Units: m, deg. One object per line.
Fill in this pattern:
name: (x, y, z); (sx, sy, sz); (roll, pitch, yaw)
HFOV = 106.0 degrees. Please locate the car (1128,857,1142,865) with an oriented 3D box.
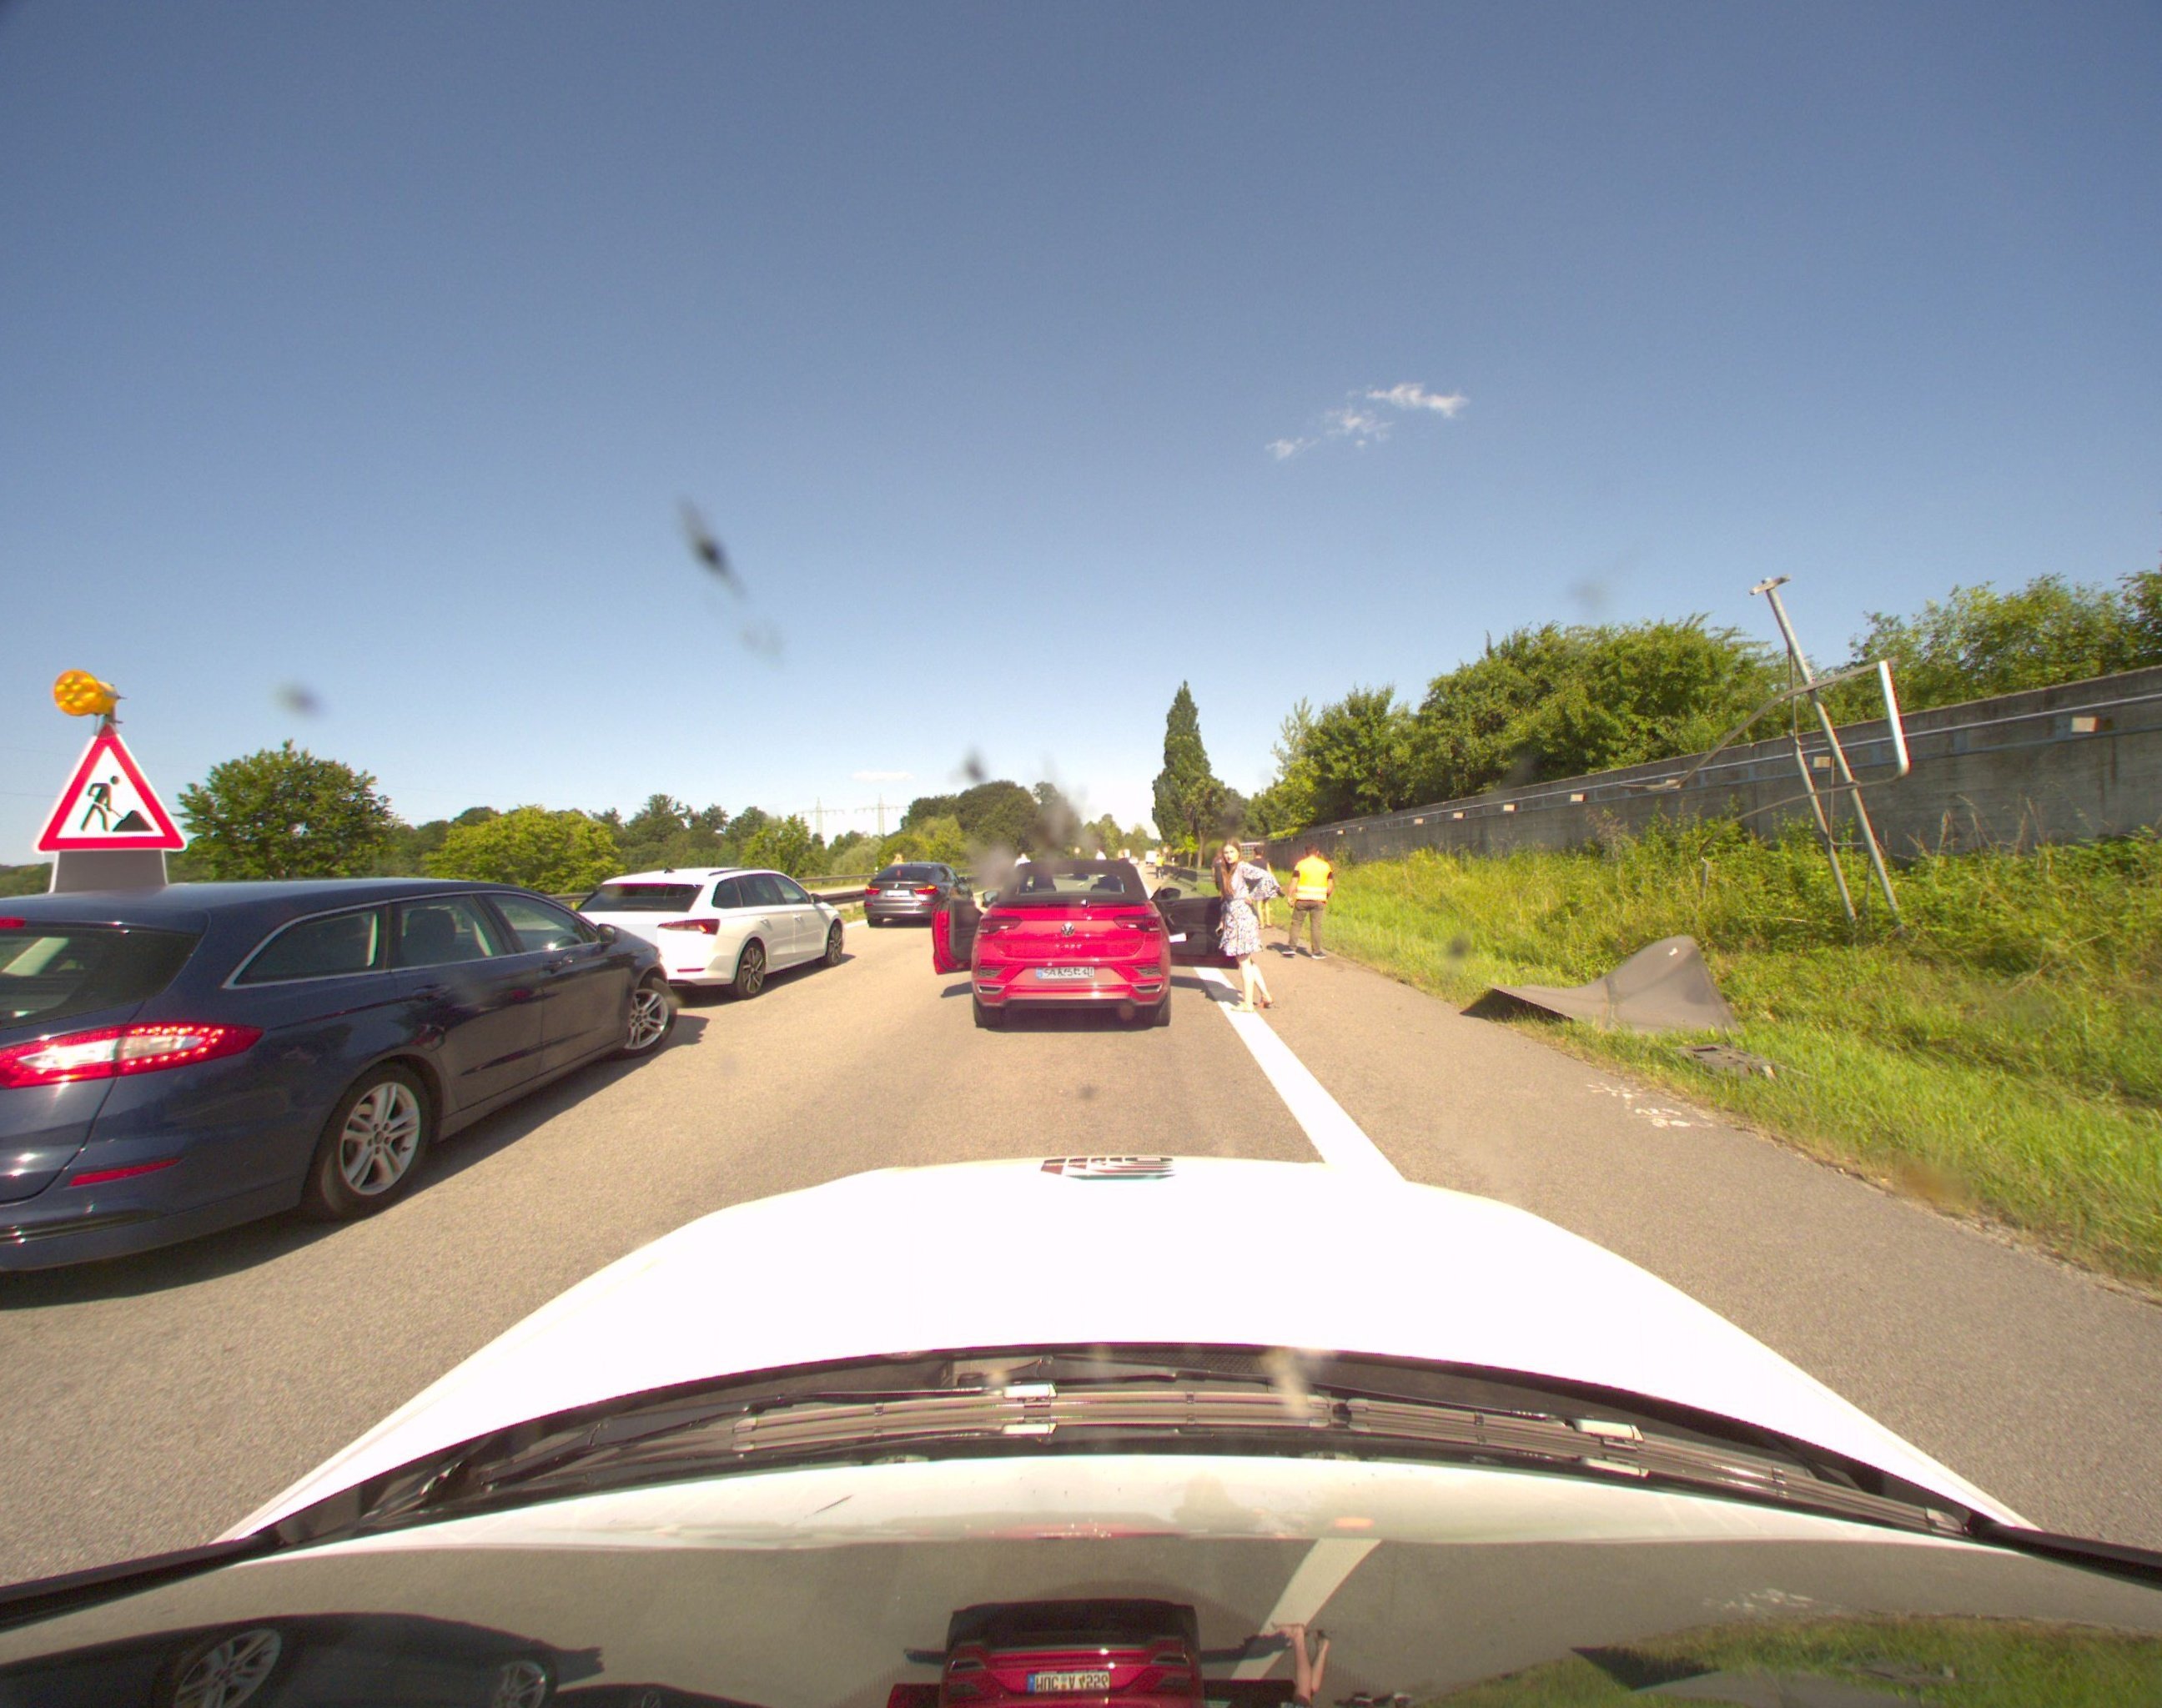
car: (10.819, 1.393, 161.990); (1.718, 1.487, 4.230); (-1, 0, 19)

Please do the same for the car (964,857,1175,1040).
car: (-0.007, 0.782, 8.794); (1.725, 1.487, 4.212); (-1, 0, 2)

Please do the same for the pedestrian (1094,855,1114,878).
pedestrian: (1.706, 0.926, 59.845); (1.103, 1.689, 0.979); (-1, -1, 43)

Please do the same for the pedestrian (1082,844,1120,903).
pedestrian: (0.675, 0.653, 27.772); (1.104, 1.912, 1.255); (-2, 0, -6)

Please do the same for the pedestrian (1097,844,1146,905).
pedestrian: (1.281, 0.635, 25.684); (1.055, 1.883, 1.100); (-2, -1, 33)

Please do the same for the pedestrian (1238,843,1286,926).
pedestrian: (3.864, 0.641, 17.396); (0.890, 1.725, 0.755); (0, -1, 4)

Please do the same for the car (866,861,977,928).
car: (-3.766, 0.906, 19.945); (1.688, 1.426, 4.336); (-1, 0, 2)

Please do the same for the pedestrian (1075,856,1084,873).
pedestrian: (-0.170, 1.086, 83.614); (0.787, 1.689, 0.794); (0, -1, 7)

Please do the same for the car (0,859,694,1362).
car: (-3.999, 0.808, 4.617); (1.785, 1.493, 4.484); (-2, 0, -6)

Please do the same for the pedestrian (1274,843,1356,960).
pedestrian: (3.480, 0.682, 12.254); (0.952, 1.654, 1.281); (-2, 0, 7)

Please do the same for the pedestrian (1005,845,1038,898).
pedestrian: (-2.065, 0.593, 28.284); (1.102, 1.789, 1.089); (0, -1, -5)

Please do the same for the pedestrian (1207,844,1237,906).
pedestrian: (4.061, 0.599, 23.462); (0.806, 1.759, 0.830); (0, -1, 11)

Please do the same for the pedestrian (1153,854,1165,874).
pedestrian: (6.658, 0.891, 69.393); (0.991, 1.689, 1.012); (0, -1, 5)

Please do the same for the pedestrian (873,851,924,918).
pedestrian: (-5.038, 0.831, 22.553); (1.036, 1.763, 1.120); (-2, 0, 5)

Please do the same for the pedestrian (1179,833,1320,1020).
pedestrian: (1.625, 0.672, 8.034); (1.122, 1.695, 0.892); (-2, 0, -3)

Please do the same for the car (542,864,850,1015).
car: (-4.414, 0.877, 10.161); (1.688, 1.441, 4.212); (-1, 0, 2)

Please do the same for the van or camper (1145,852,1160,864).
van or camper: (14.111, 0.769, 160.465); (1.977, 2.316, 4.491); (-1, -1, 19)

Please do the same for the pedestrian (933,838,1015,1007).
pedestrian: (-1.114, 0.696, 8.674); (0.739, 1.683, 0.841); (-2, 0, -3)

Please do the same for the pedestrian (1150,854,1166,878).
pedestrian: (5.441, 0.847, 57.432); (1.050, 1.689, 1.020); (0, -1, 9)
